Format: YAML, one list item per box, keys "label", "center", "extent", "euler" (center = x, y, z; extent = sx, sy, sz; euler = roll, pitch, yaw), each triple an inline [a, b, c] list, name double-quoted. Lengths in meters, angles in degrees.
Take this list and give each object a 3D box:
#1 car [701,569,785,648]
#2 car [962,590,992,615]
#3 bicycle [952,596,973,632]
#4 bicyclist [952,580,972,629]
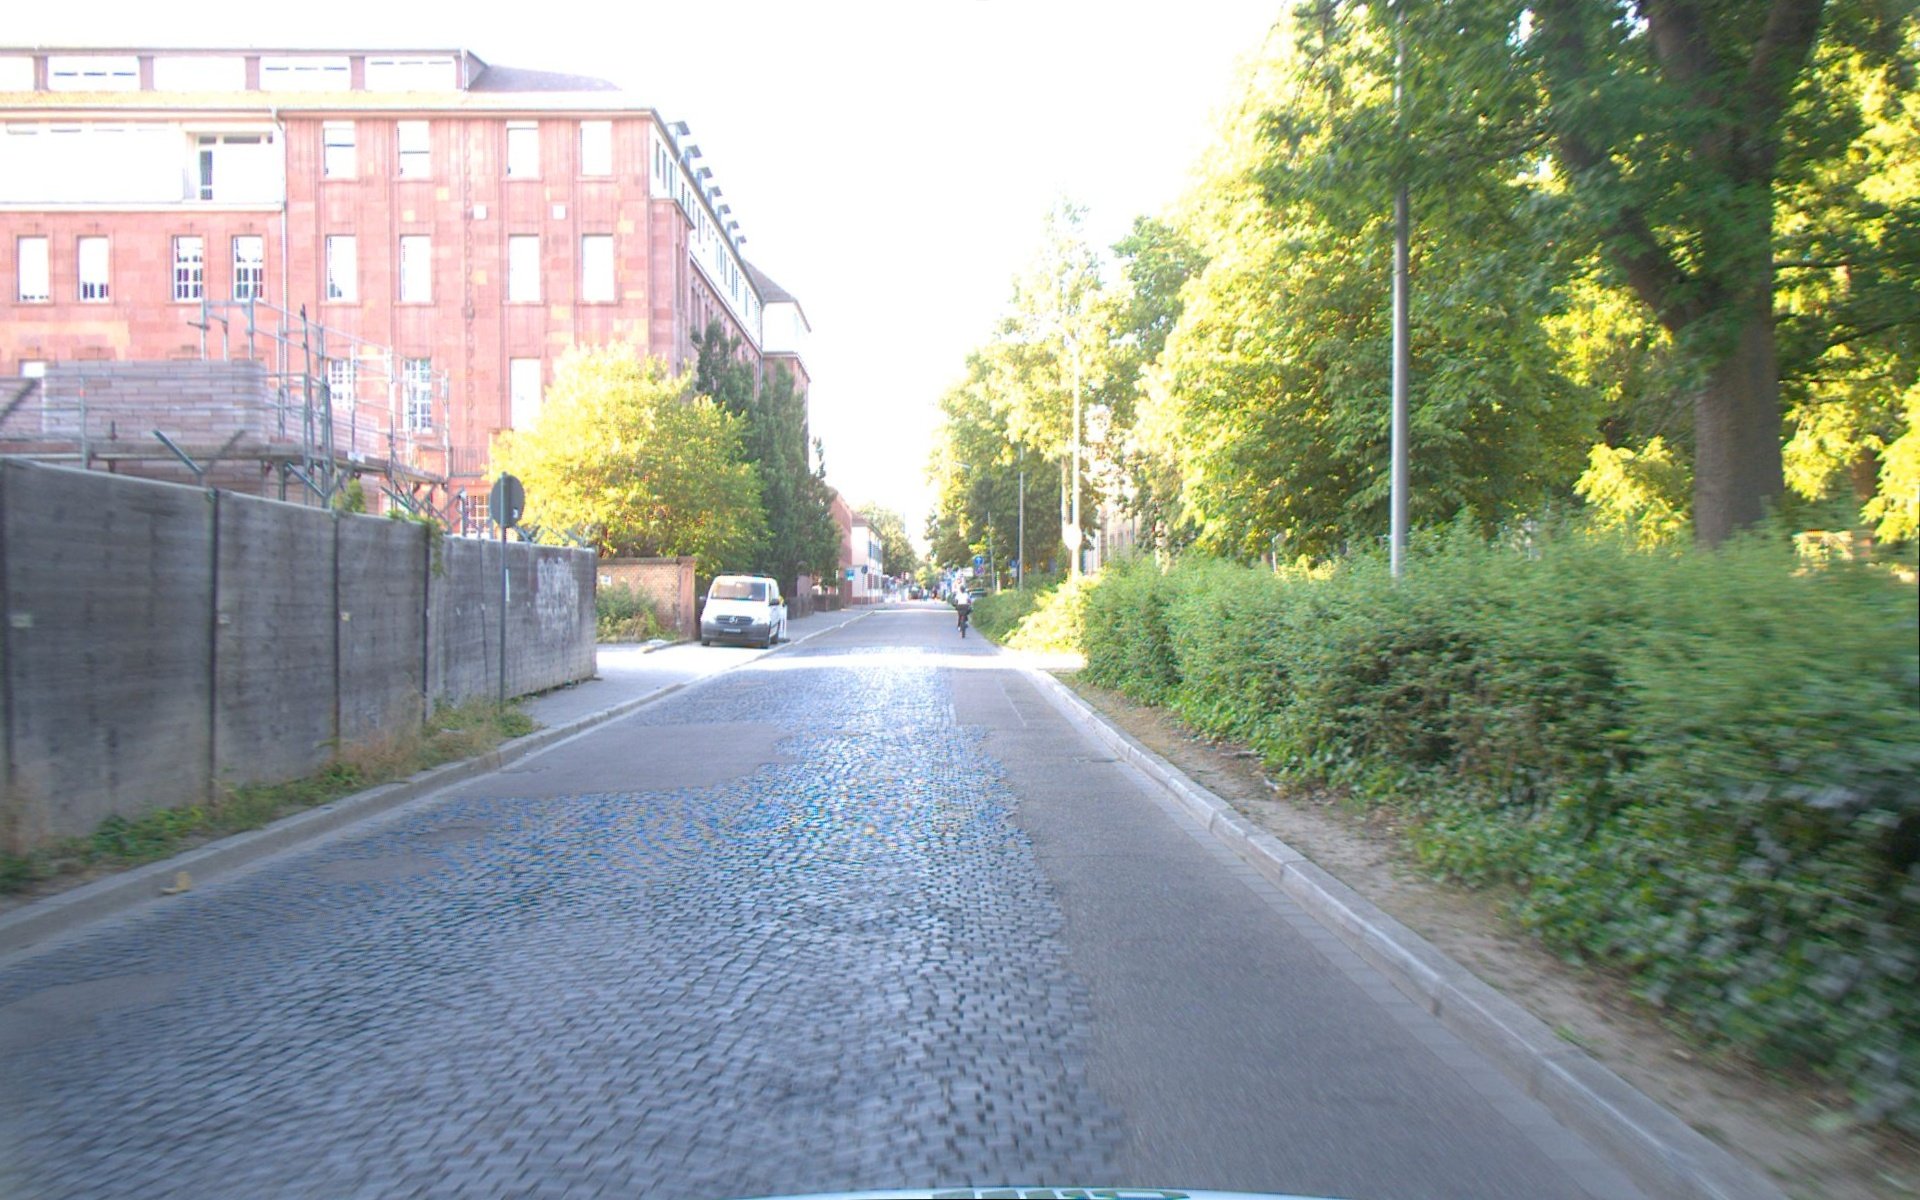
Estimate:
- label: "car"
  center: [-6.005, 0.276, 46.289]
  extent: [1.845, 2.049, 5.223]
  euler: [1, -1, -3]
- label: "car"
  center: [1.083, 0.187, 105.934]
  extent: [1.652, 1.472, 3.669]
  euler: [-3, -1, -3]
- label: "bicycle"
  center: [0.075, 0.467, 57.480]
  extent: [0.625, 1.214, 1.875]
  euler: [1, 0, -3]
- label: "bicyclist"
  center: [0.081, 0.147, 57.444]
  extent: [0.626, 1.696, 0.842]
  euler: [1, 0, -3]
